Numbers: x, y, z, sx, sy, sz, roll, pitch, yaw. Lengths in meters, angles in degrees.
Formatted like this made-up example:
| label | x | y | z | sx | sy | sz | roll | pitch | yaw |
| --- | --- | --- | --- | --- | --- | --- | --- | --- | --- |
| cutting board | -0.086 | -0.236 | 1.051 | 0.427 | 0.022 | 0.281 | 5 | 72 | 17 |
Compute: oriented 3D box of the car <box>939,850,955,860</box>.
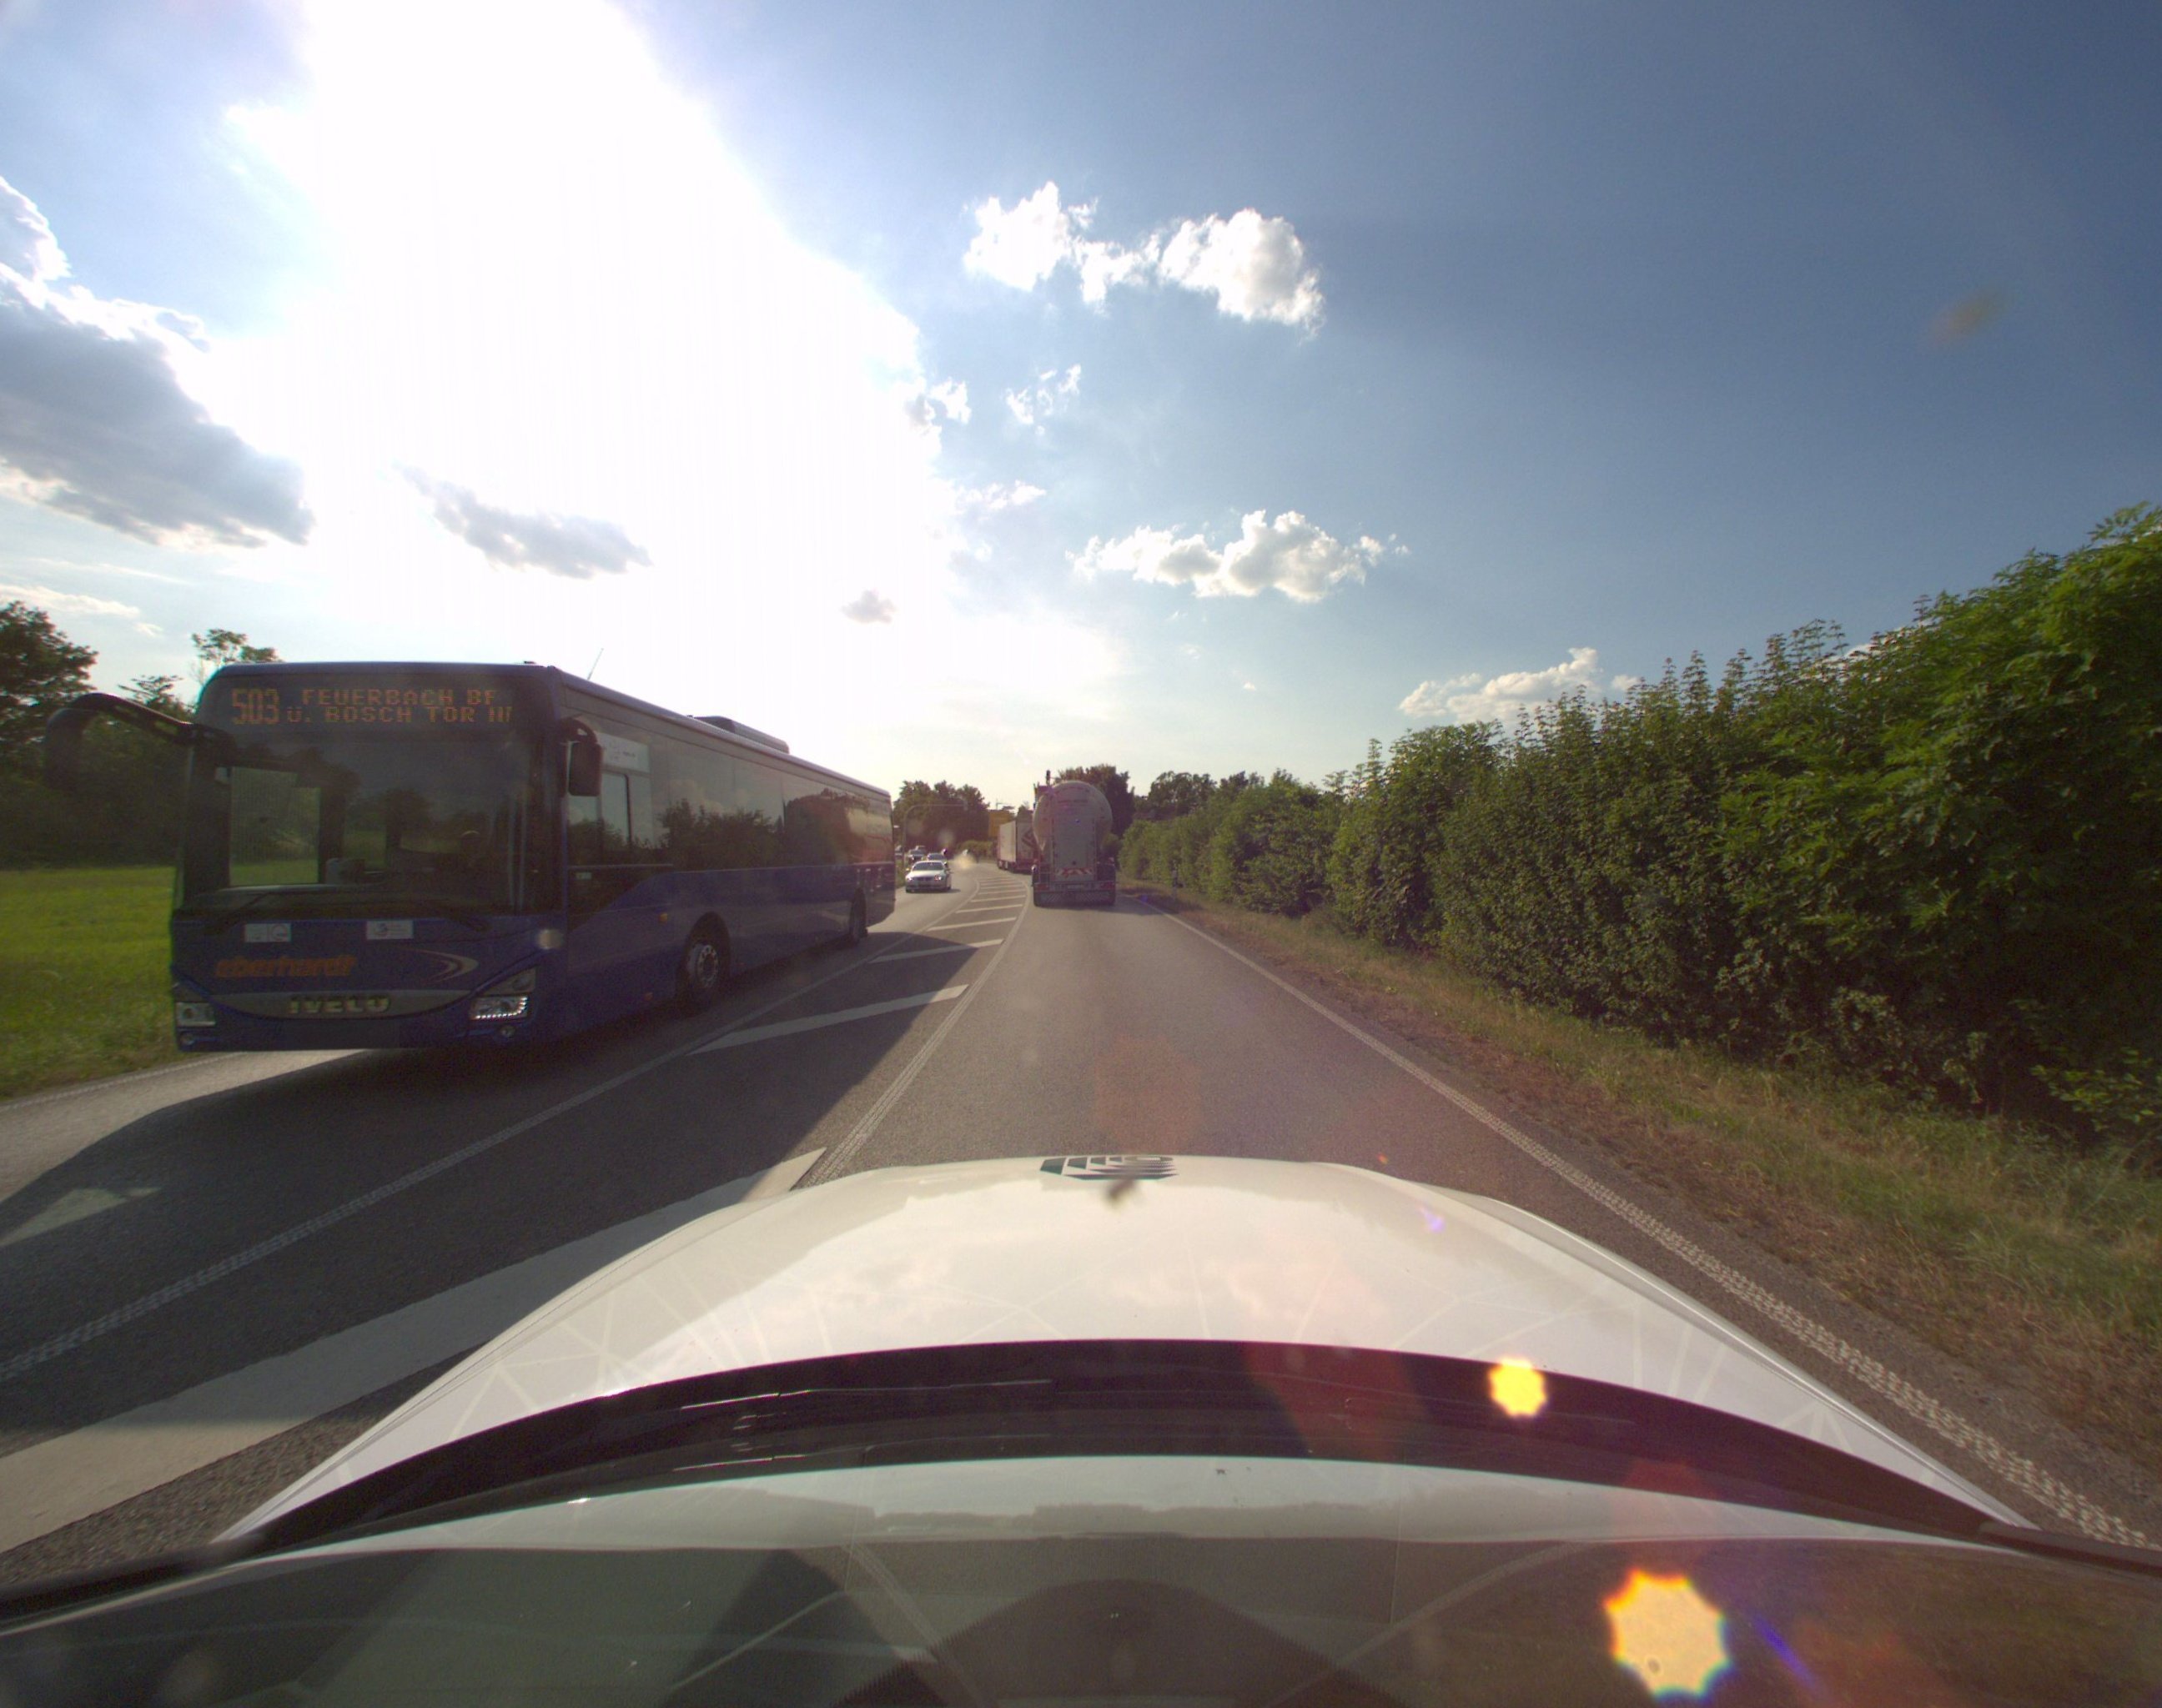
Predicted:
| label | x | y | z | sx | sy | sz | roll | pitch | yaw |
| --- | --- | --- | --- | --- | --- | --- | --- | --- | --- |
| car | -19.293 | 0.174 | 117.168 | 1.689 | 1.468 | 3.972 | 1 | -1 | -20 |

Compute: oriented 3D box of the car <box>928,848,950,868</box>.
| label | x | y | z | sx | sy | sz | roll | pitch | yaw |
| --- | --- | --- | --- | --- | --- | --- | --- | --- | --- |
| car | -11.794 | 0.355 | 67.752 | 1.695 | 1.553 | 4.137 | 0 | -1 | -10 |

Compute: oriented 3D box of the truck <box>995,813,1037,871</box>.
| label | x | y | z | sx | sy | sz | roll | pitch | yaw |
| --- | --- | --- | --- | --- | --- | --- | --- | --- | --- |
| truck | -5.811 | -0.976 | 71.917 | 2.963 | 4.887 | 6.406 | 0 | -1 | -11 |

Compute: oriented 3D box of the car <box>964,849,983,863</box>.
| label | x | y | z | sx | sy | sz | roll | pitch | yaw |
| --- | --- | --- | --- | --- | --- | --- | --- | --- | --- |
| car | -13.338 | 0.265 | 100.718 | 1.995 | 1.656 | 3.983 | 0 | -1 | -12 |

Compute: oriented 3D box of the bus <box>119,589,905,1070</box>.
| label | x | y | z | sx | sy | sz | roll | pitch | yaw |
| --- | --- | --- | --- | --- | --- | --- | --- | --- | --- |
| bus | -5.062 | -0.053 | 11.502 | 2.786 | 3.182 | 12.118 | 0 | -1 | -1 |

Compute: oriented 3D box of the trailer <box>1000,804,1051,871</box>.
| label | x | y | z | sx | sy | sz | roll | pitch | yaw |
| --- | --- | --- | --- | --- | --- | --- | --- | --- | --- |
| trailer | -4.578 | -1.116 | 65.019 | 2.965 | 4.882 | 10.250 | 0 | -1 | -10 |

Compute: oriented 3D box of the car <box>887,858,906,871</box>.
| label | x | y | z | sx | sy | sz | roll | pitch | yaw |
| --- | --- | --- | --- | --- | --- | --- | --- | --- | --- |
| car | -24.999 | 1.439 | 110.268 | 1.848 | 1.656 | 3.972 | 1 | -1 | -21 |

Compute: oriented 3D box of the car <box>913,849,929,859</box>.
| label | x | y | z | sx | sy | sz | roll | pitch | yaw |
| --- | --- | --- | --- | --- | --- | --- | --- | --- | --- |
| car | -27.650 | 0.003 | 140.976 | 1.850 | 1.656 | 3.967 | 1 | -1 | -25 |

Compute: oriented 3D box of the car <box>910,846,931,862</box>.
| label | x | y | z | sx | sy | sz | roll | pitch | yaw |
| --- | --- | --- | --- | --- | --- | --- | --- | --- | --- |
| car | -17.938 | -0.029 | 91.064 | 1.991 | 1.725 | 4.416 | 0 | 1 | -7 |

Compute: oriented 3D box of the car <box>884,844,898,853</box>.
| label | x | y | z | sx | sy | sz | roll | pitch | yaw |
| --- | --- | --- | --- | --- | --- | --- | --- | --- | --- |
| car | -35.383 | -1.054 | 151.541 | 1.889 | 1.599 | 3.970 | 1 | 0 | -22 |

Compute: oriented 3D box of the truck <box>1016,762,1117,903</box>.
| label | x | y | z | sx | sy | sz | roll | pitch | yaw |
| --- | --- | --- | --- | --- | --- | --- | --- | --- | --- |
| truck | -0.481 | -0.524 | 29.914 | 2.967 | 4.176 | 11.656 | 0 | -1 | -1 |

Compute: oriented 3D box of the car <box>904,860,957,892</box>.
| label | x | y | z | sx | sy | sz | roll | pitch | yaw |
| --- | --- | --- | --- | --- | --- | --- | --- | --- | --- |
| car | -6.751 | 0.964 | 36.888 | 1.696 | 1.334 | 4.744 | -1 | -1 | -3 |
